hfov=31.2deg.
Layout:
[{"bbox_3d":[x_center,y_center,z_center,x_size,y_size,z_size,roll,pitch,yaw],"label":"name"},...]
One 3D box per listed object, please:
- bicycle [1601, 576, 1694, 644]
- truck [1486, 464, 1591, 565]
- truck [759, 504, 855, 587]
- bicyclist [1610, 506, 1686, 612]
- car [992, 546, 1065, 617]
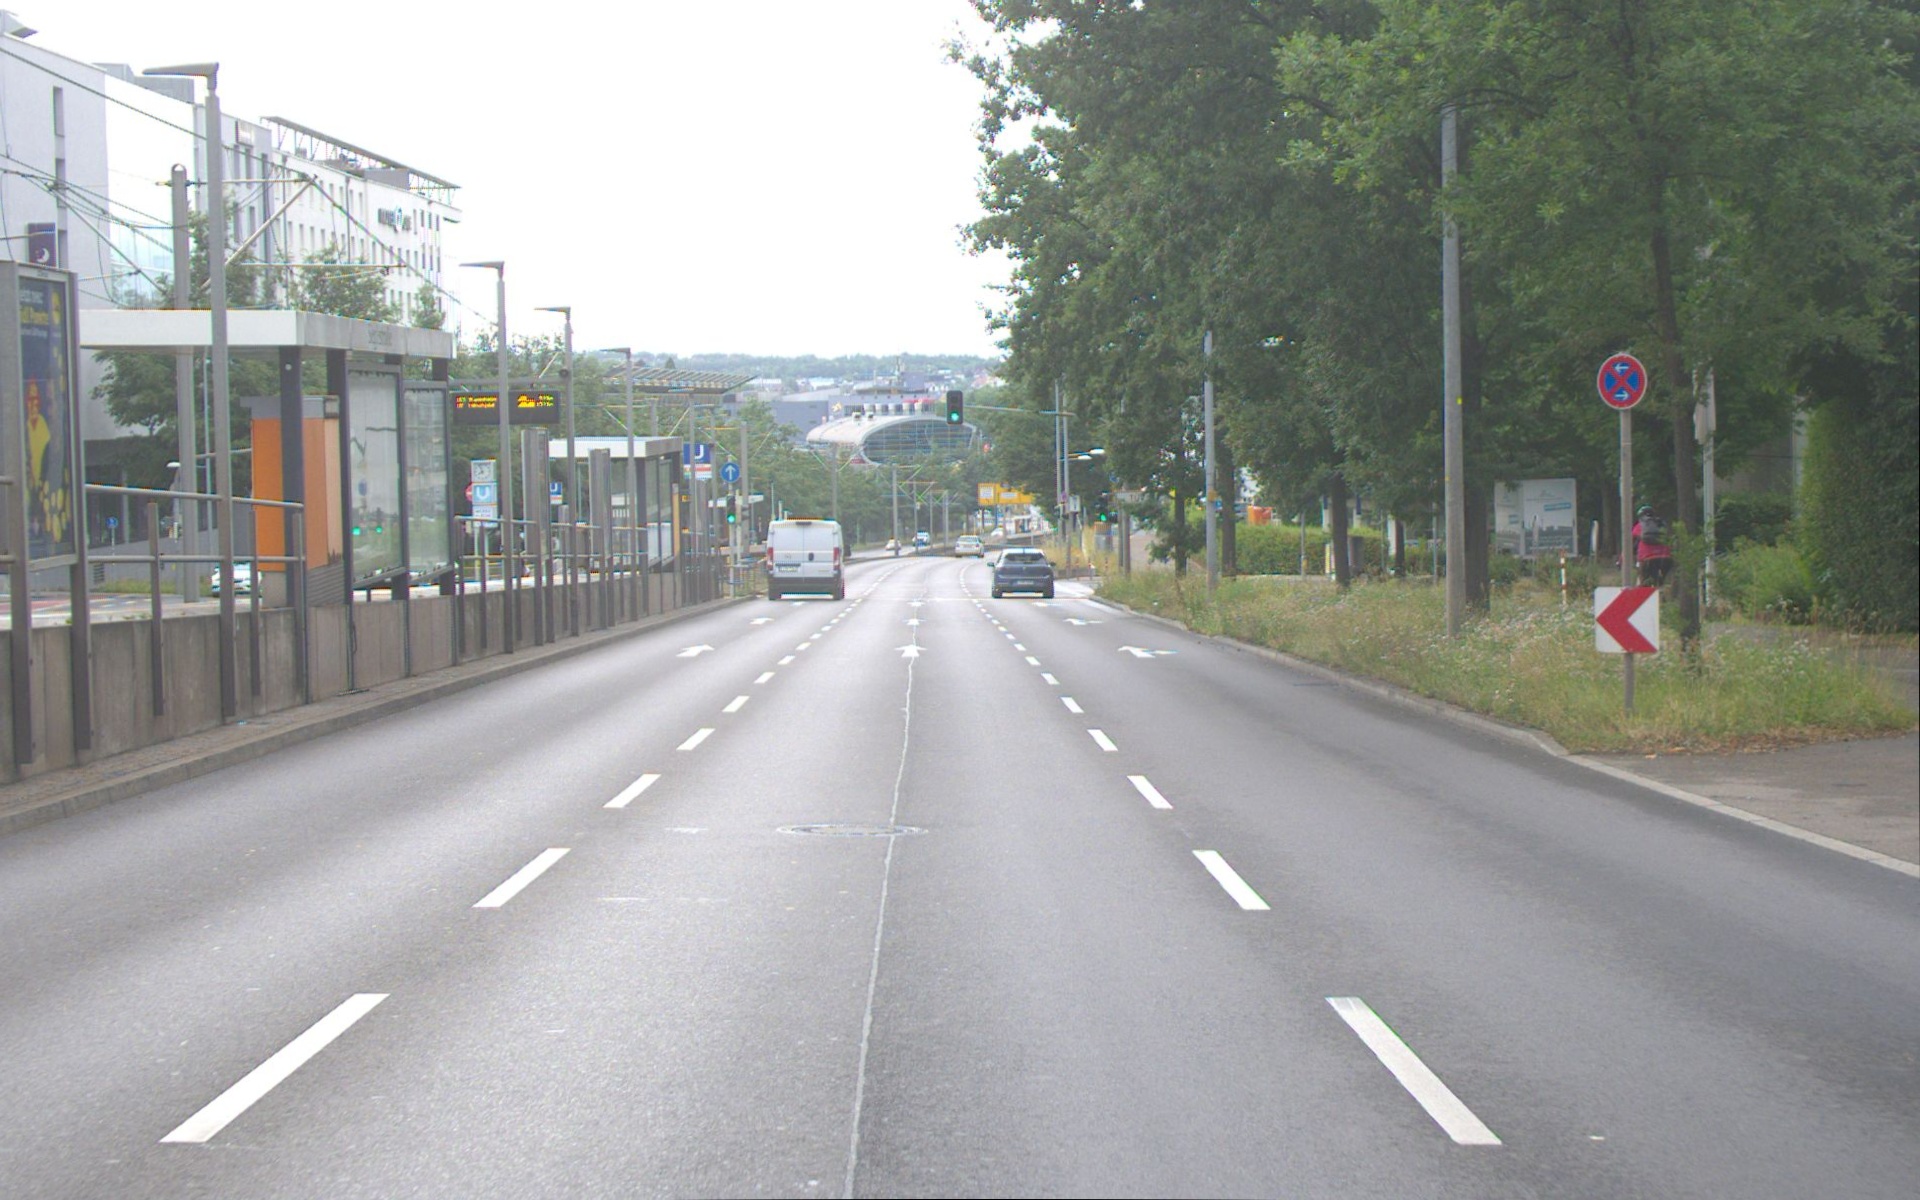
[{"bbox_3d":[8.549,0.110,42.828,0.667,0.806,2.318,1,1,-1],"label":"bicycle"},{"bbox_3d":[14.814,-2.165,88.249,1.746,2.509,4.001,1,1,-4],"label":"truck"},{"bbox_3d":[-4.271,-1.516,96.913,2.360,2.254,5.306,1,1,1],"label":"truck"},{"bbox_3d":[8.559,-0.517,42.814,0.655,1.284,1.219,1,1,-1],"label":"bicyclist"},{"bbox_3d":[2.029,-0.553,101.329,1.994,2.007,3.934,1,1,3],"label":"car"}]
